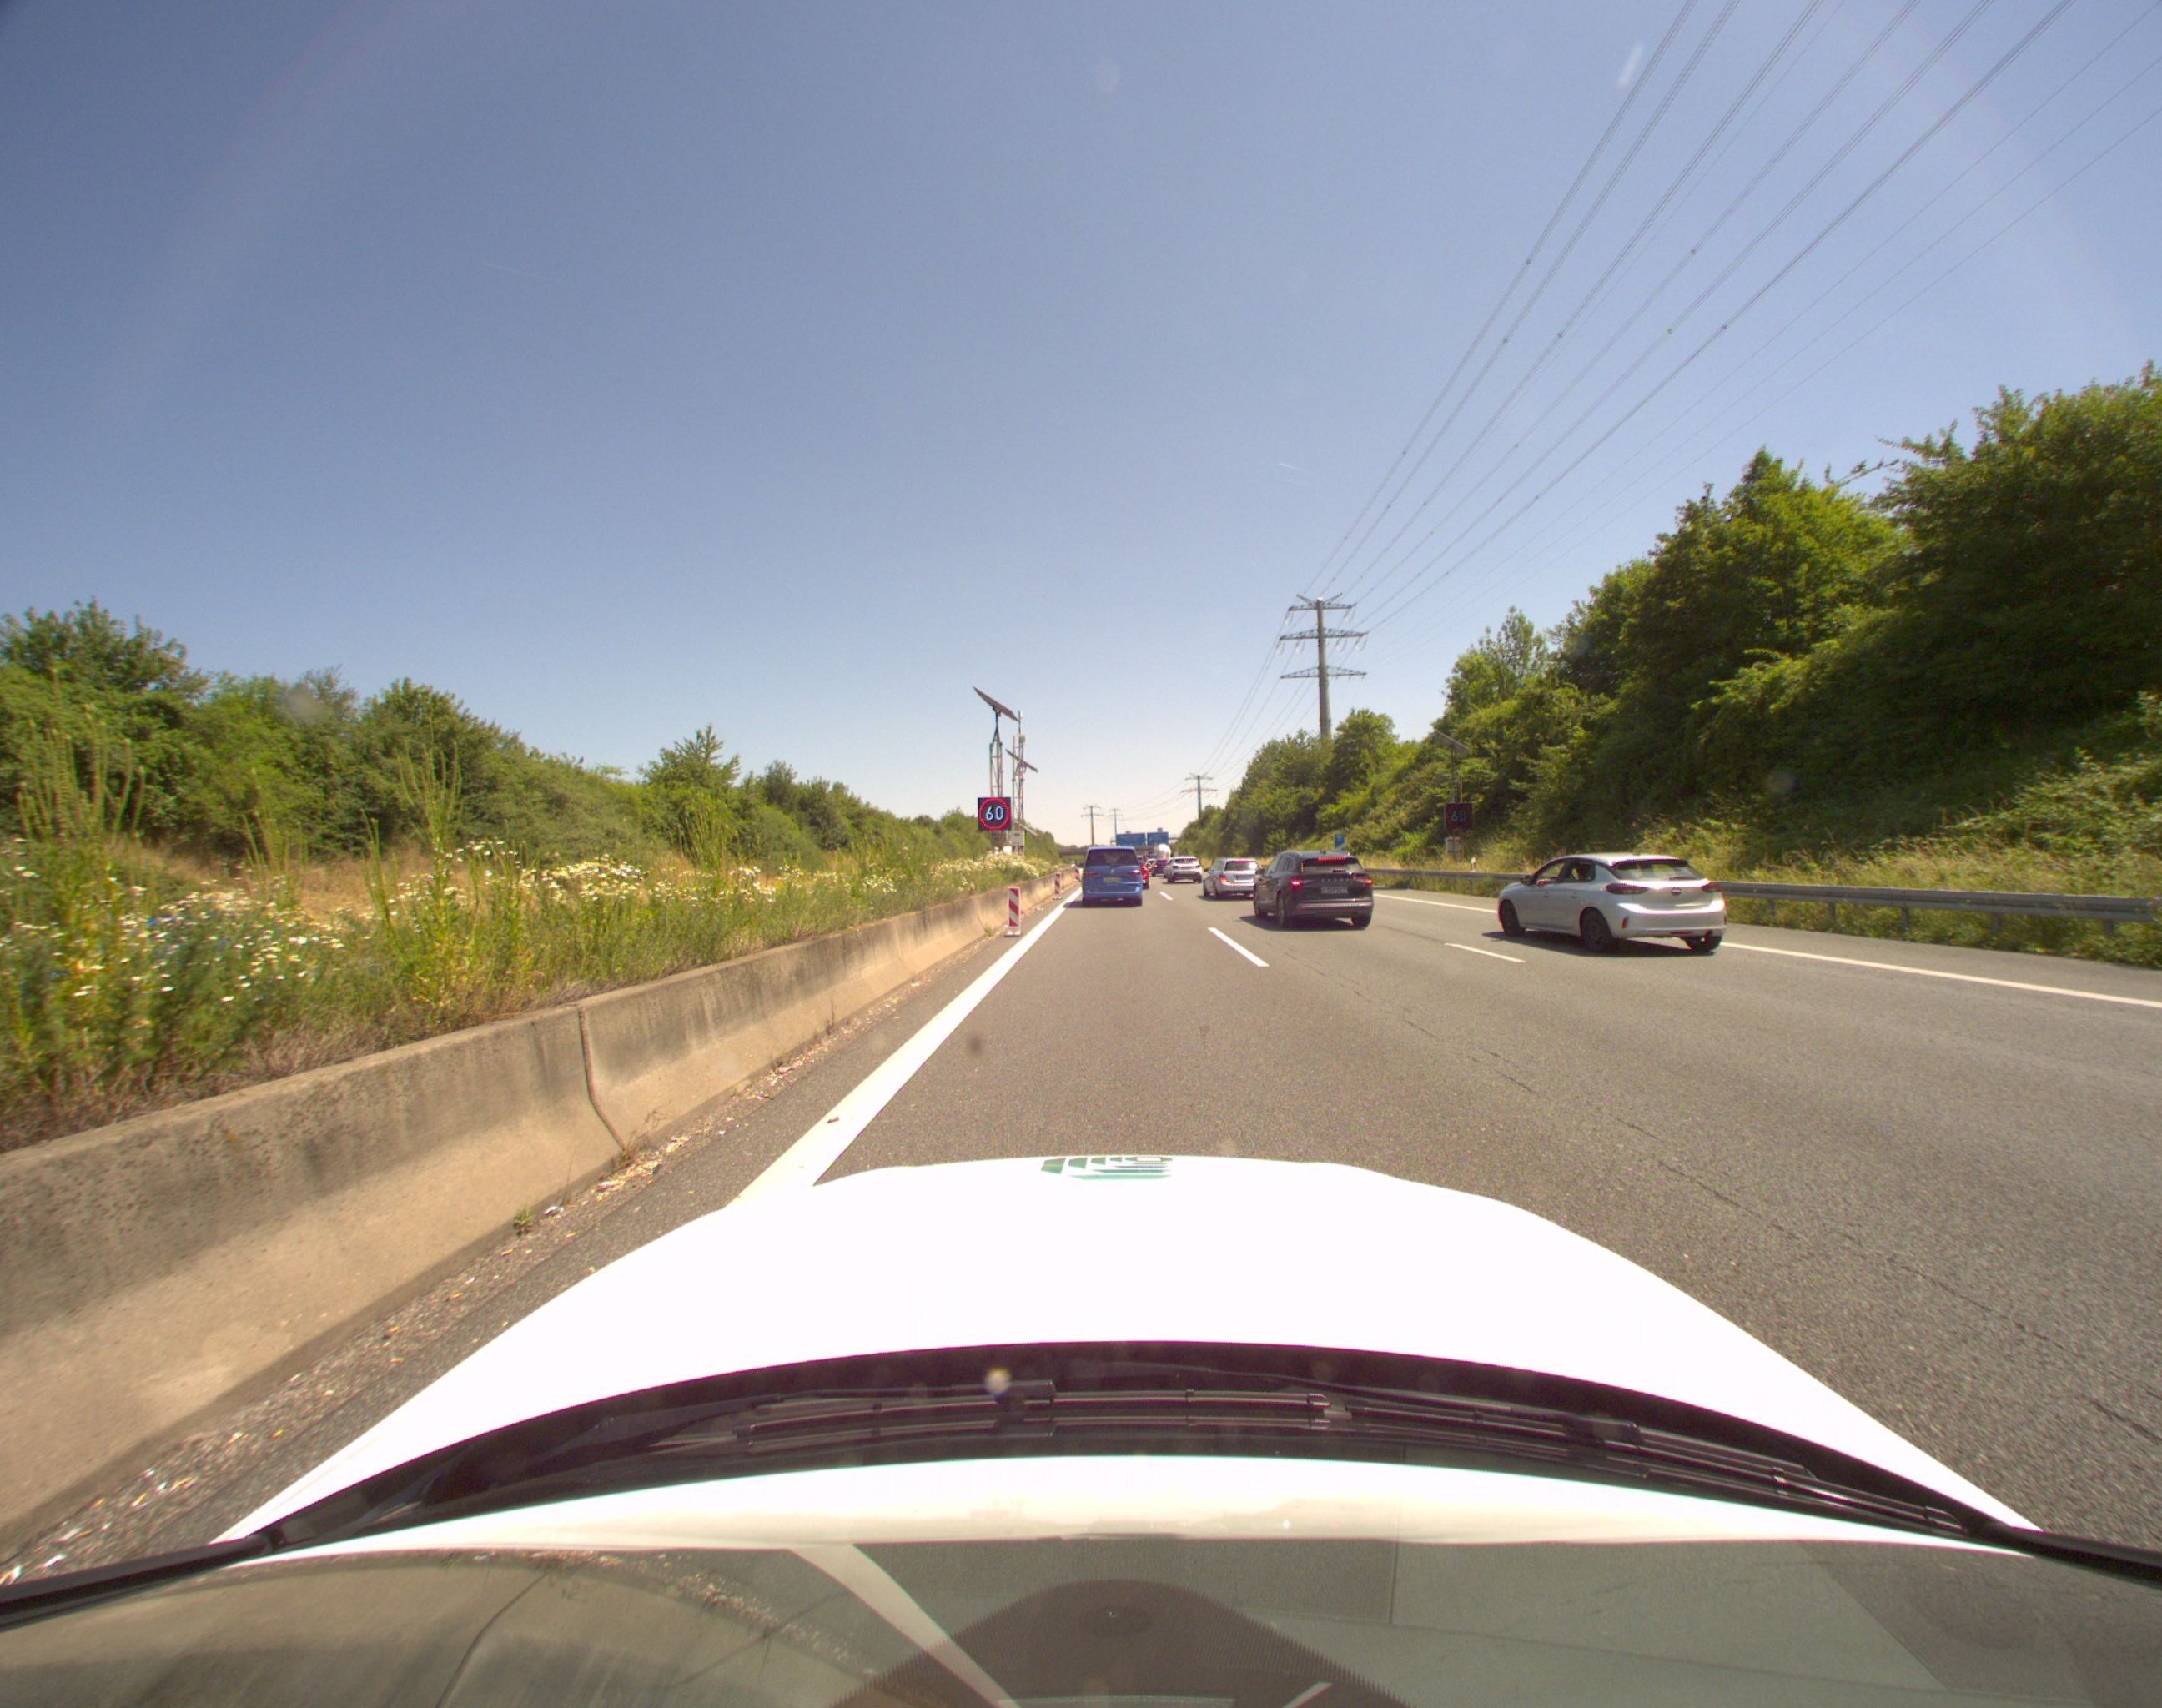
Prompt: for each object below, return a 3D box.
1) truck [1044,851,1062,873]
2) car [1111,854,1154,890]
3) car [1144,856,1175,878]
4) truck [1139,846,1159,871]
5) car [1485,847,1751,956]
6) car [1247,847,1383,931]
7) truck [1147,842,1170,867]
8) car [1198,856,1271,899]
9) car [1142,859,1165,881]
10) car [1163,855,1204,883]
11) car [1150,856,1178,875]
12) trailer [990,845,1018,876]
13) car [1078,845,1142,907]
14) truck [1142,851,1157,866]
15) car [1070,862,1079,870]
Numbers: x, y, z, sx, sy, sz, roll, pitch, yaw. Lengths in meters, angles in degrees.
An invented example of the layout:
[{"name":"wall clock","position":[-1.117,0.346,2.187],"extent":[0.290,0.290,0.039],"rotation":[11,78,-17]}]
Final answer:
[{"name":"truck","position":[-5.371,1.577,157.998],"extent":[2.752,3.888,9.032],"rotation":[-4,-1,1]},{"name":"car","position":[2.456,0.834,40.048],"extent":[1.902,1.631,4.384],"rotation":[-1,0,1]},{"name":"car","position":[5.675,0.932,59.316],"extent":[1.902,1.516,4.383],"rotation":[0,0,0]},{"name":"truck","position":[7.906,0.528,94.868],"extent":[1.986,2.724,5.681],"rotation":[0,0,1]},{"name":"car","position":[8.333,0.653,13.131],"extent":[1.734,1.470,4.016],"rotation":[-1,0,2]},{"name":"car","position":[5.037,0.681,18.178],"extent":[1.821,1.614,4.432],"rotation":[-1,0,1]},{"name":"truck","position":[13.358,0.075,141.557],"extent":[2.635,4.072,16.443],"rotation":[0,0,1]},{"name":"car","position":[5.452,0.803,29.410],"extent":[1.815,1.437,4.383],"rotation":[0,0,0]},{"name":"car","position":[6.984,1.542,78.643],"extent":[1.986,2.014,4.001],"rotation":[0,0,2]},{"name":"car","position":[5.930,0.855,47.368],"extent":[1.902,1.508,3.921],"rotation":[0,0,0]},{"name":"car","position":[6.794,0.950,66.996],"extent":[1.902,1.516,4.383],"rotation":[0,0,0]},{"name":"trailer","position":[-10.684,0.866,113.658],"extent":[2.949,4.057,5.436],"rotation":[-4,-1,2]},{"name":"car","position":[0.868,0.682,26.823],"extent":[1.866,1.879,4.381],"rotation":[0,0,-2]},{"name":"truck","position":[16.094,1.090,192.049],"extent":[2.635,3.539,12.553],"rotation":[0,0,1]},{"name":"car","position":[-1.236,2.170,153.431],"extent":[1.577,1.443,4.003],"rotation":[0,0,3]}]
